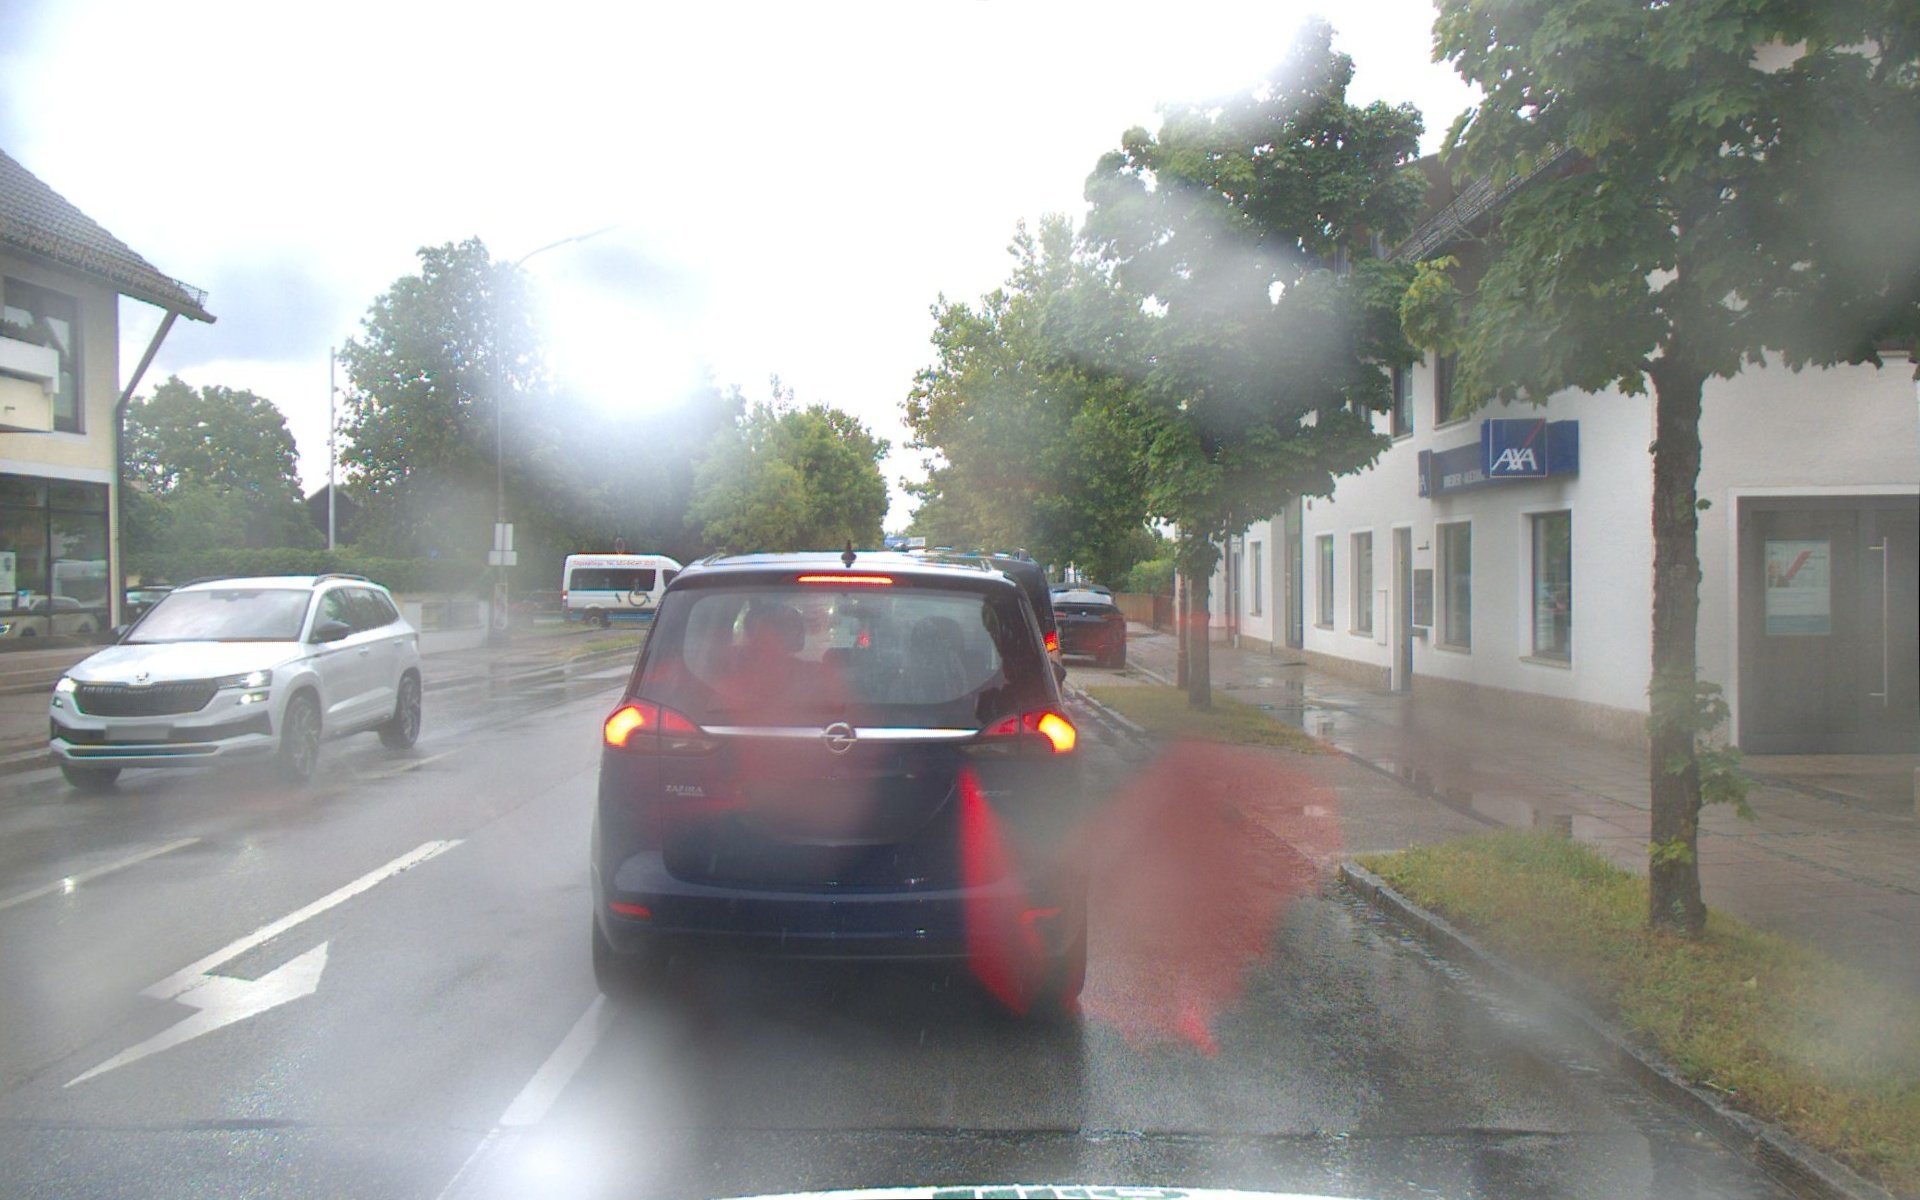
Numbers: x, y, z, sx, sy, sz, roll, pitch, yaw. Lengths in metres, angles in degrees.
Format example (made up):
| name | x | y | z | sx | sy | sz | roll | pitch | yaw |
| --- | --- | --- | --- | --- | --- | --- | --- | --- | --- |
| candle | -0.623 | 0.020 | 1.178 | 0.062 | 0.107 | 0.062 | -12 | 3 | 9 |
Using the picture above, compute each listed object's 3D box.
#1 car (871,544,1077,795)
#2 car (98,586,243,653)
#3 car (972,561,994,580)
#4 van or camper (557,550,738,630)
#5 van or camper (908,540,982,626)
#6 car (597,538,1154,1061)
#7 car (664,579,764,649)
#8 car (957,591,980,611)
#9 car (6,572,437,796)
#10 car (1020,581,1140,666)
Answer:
| name | x | y | z | sx | sy | sz | roll | pitch | yaw |
| --- | --- | --- | --- | --- | --- | --- | --- | --- | --- |
| car | 0.076 | 0.497 | 13.618 | 1.470 | 1.807 | 3.111 | 1 | 0 | -1 |
| car | -17.586 | 0.403 | 37.012 | 1.574 | 1.404 | 3.508 | -1 | 0 | -1 |
| car | 1.812 | -2.371 | 132.276 | 1.597 | 1.402 | 3.622 | -1 | 0 | -1 |
| van or camper | -11.083 | -0.362 | 59.075 | 6.126 | 2.754 | 2.099 | 0 | 0 | -5 |
| van or camper | -0.523 | -0.551 | 55.272 | 2.312 | 2.712 | 5.370 | -1 | 0 | -1 |
| car | -0.292 | 0.617 | 7.026 | 1.733 | 1.632 | 3.662 | 1 | 0 | -1 |
| car | -5.810 | 0.305 | 39.517 | 1.716 | 1.537 | 4.230 | -2 | 0 | 0 |
| car | 0.639 | 0.085 | 122.712 | 1.597 | 1.402 | 3.622 | 1 | 0 | -1 |
| car | -6.004 | 0.593 | 14.061 | 1.888 | 1.594 | 4.125 | -1 | 0 | -2 |
| car | 2.403 | 0.453 | 34.116 | 2.075 | 1.609 | 3.934 | 1 | 0 | -2 |
